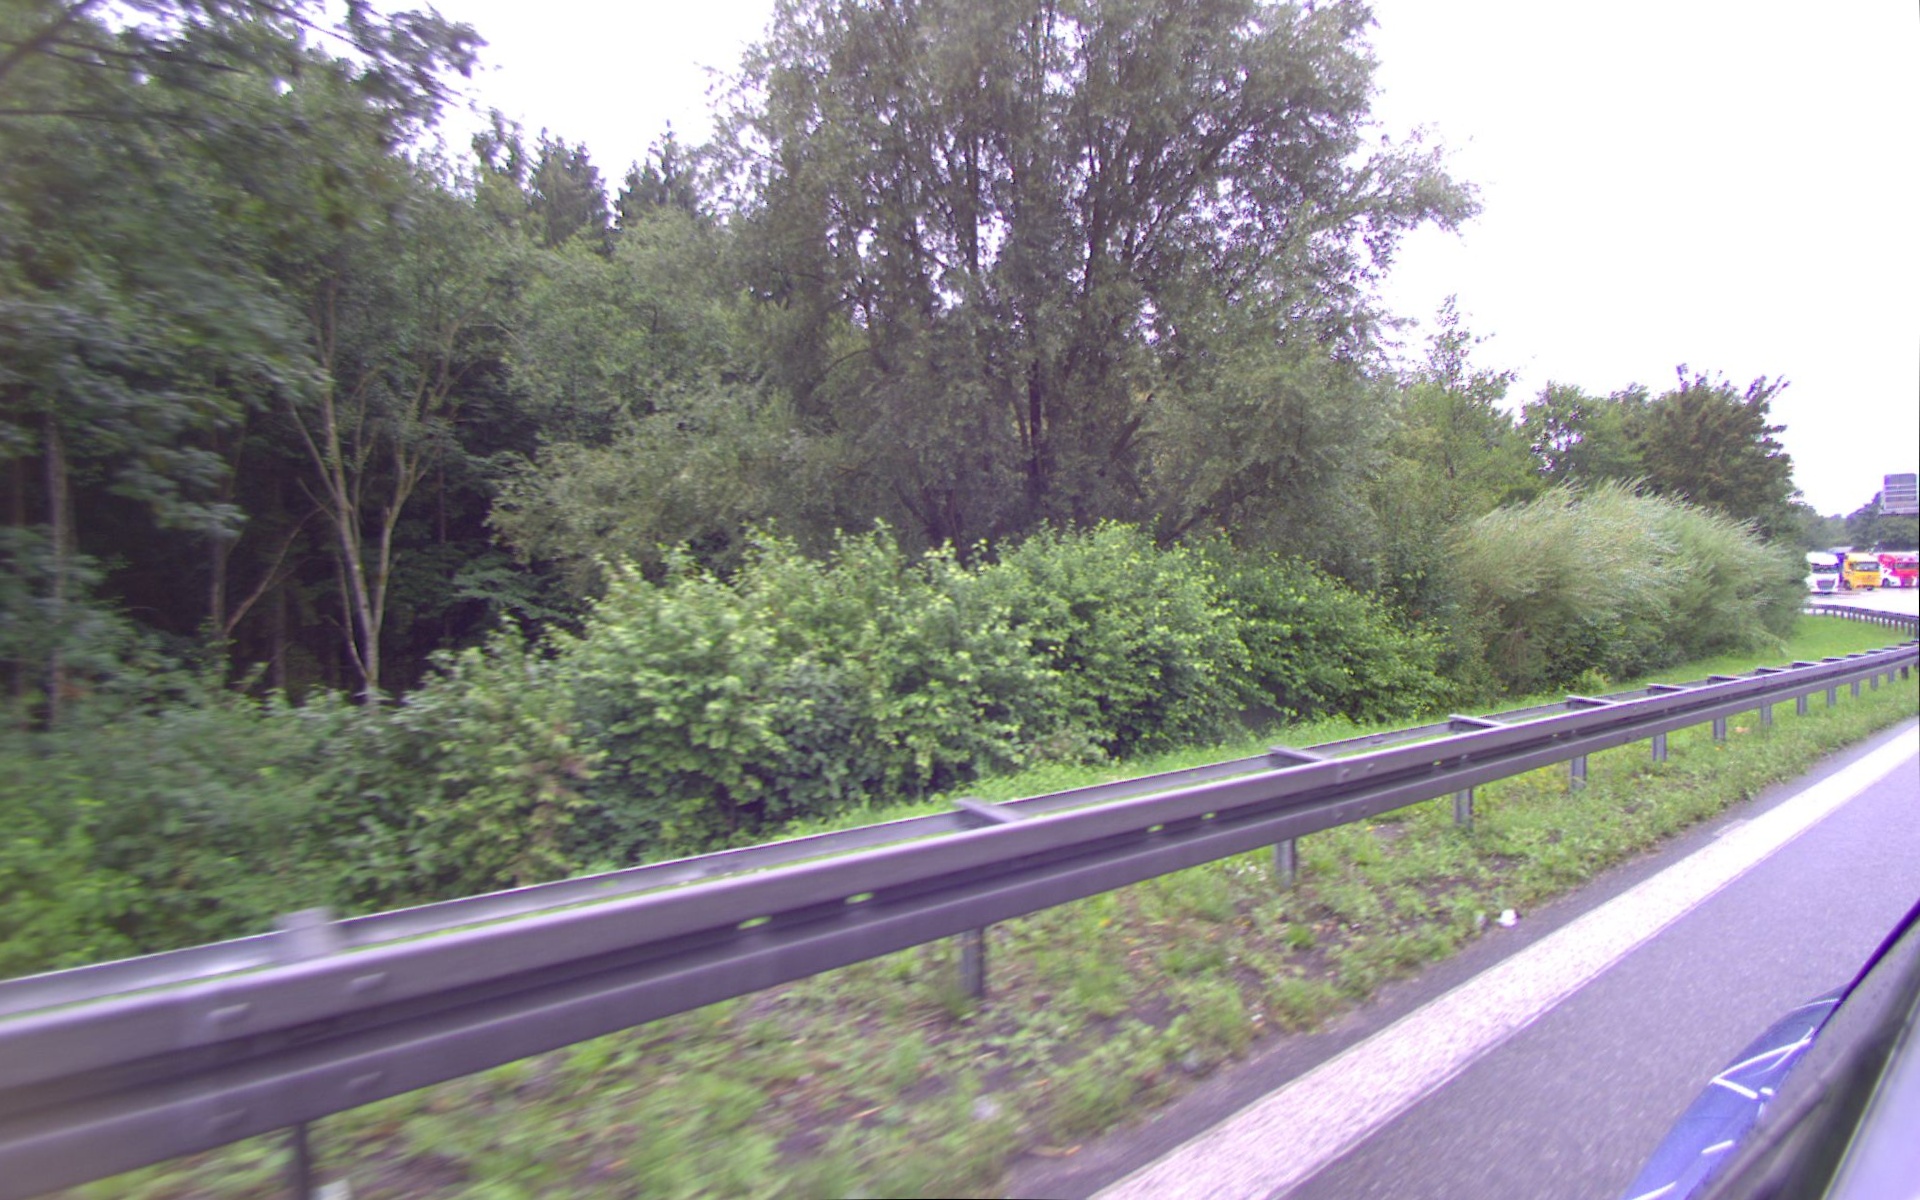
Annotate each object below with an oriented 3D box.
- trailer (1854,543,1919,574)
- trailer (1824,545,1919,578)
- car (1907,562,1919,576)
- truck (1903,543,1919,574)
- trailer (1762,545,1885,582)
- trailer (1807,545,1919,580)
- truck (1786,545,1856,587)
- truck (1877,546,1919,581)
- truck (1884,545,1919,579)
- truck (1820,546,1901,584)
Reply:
[{"bbox_3d":[132.682,-5.841,142.255,3.190,4.141,13.514,0,2,7],"label":"trailer"},{"bbox_3d":[114.948,-4.855,126.869,2.827,3.967,13.916,0,2,7],"label":"trailer"},{"bbox_3d":[126.796,-4.072,132.791,1.818,1.881,3.991,-1,1,9],"label":"car"},{"bbox_3d":[131.979,-5.610,136.271,3.190,4.141,7.927,0,2,7],"label":"truck"},{"bbox_3d":[99.649,-4.245,117.382,2.823,3.967,16.592,0,2,10],"label":"trailer"},{"bbox_3d":[111.060,-4.626,124.195,3.190,3.967,14.810,0,2,7],"label":"trailer"},{"bbox_3d":[84.382,-3.293,99.284,2.784,3.961,5.399,0,2,9],"label":"truck"},{"bbox_3d":[110.243,-4.312,117.509,3.190,3.967,5.014,0,2,7],"label":"truck"},{"bbox_3d":[114.213,-4.535,120.494,2.850,3.967,6.547,0,2,7],"label":"truck"},{"bbox_3d":[98.471,-3.861,110.826,2.795,3.967,8.109,0,2,11],"label":"truck"}]
